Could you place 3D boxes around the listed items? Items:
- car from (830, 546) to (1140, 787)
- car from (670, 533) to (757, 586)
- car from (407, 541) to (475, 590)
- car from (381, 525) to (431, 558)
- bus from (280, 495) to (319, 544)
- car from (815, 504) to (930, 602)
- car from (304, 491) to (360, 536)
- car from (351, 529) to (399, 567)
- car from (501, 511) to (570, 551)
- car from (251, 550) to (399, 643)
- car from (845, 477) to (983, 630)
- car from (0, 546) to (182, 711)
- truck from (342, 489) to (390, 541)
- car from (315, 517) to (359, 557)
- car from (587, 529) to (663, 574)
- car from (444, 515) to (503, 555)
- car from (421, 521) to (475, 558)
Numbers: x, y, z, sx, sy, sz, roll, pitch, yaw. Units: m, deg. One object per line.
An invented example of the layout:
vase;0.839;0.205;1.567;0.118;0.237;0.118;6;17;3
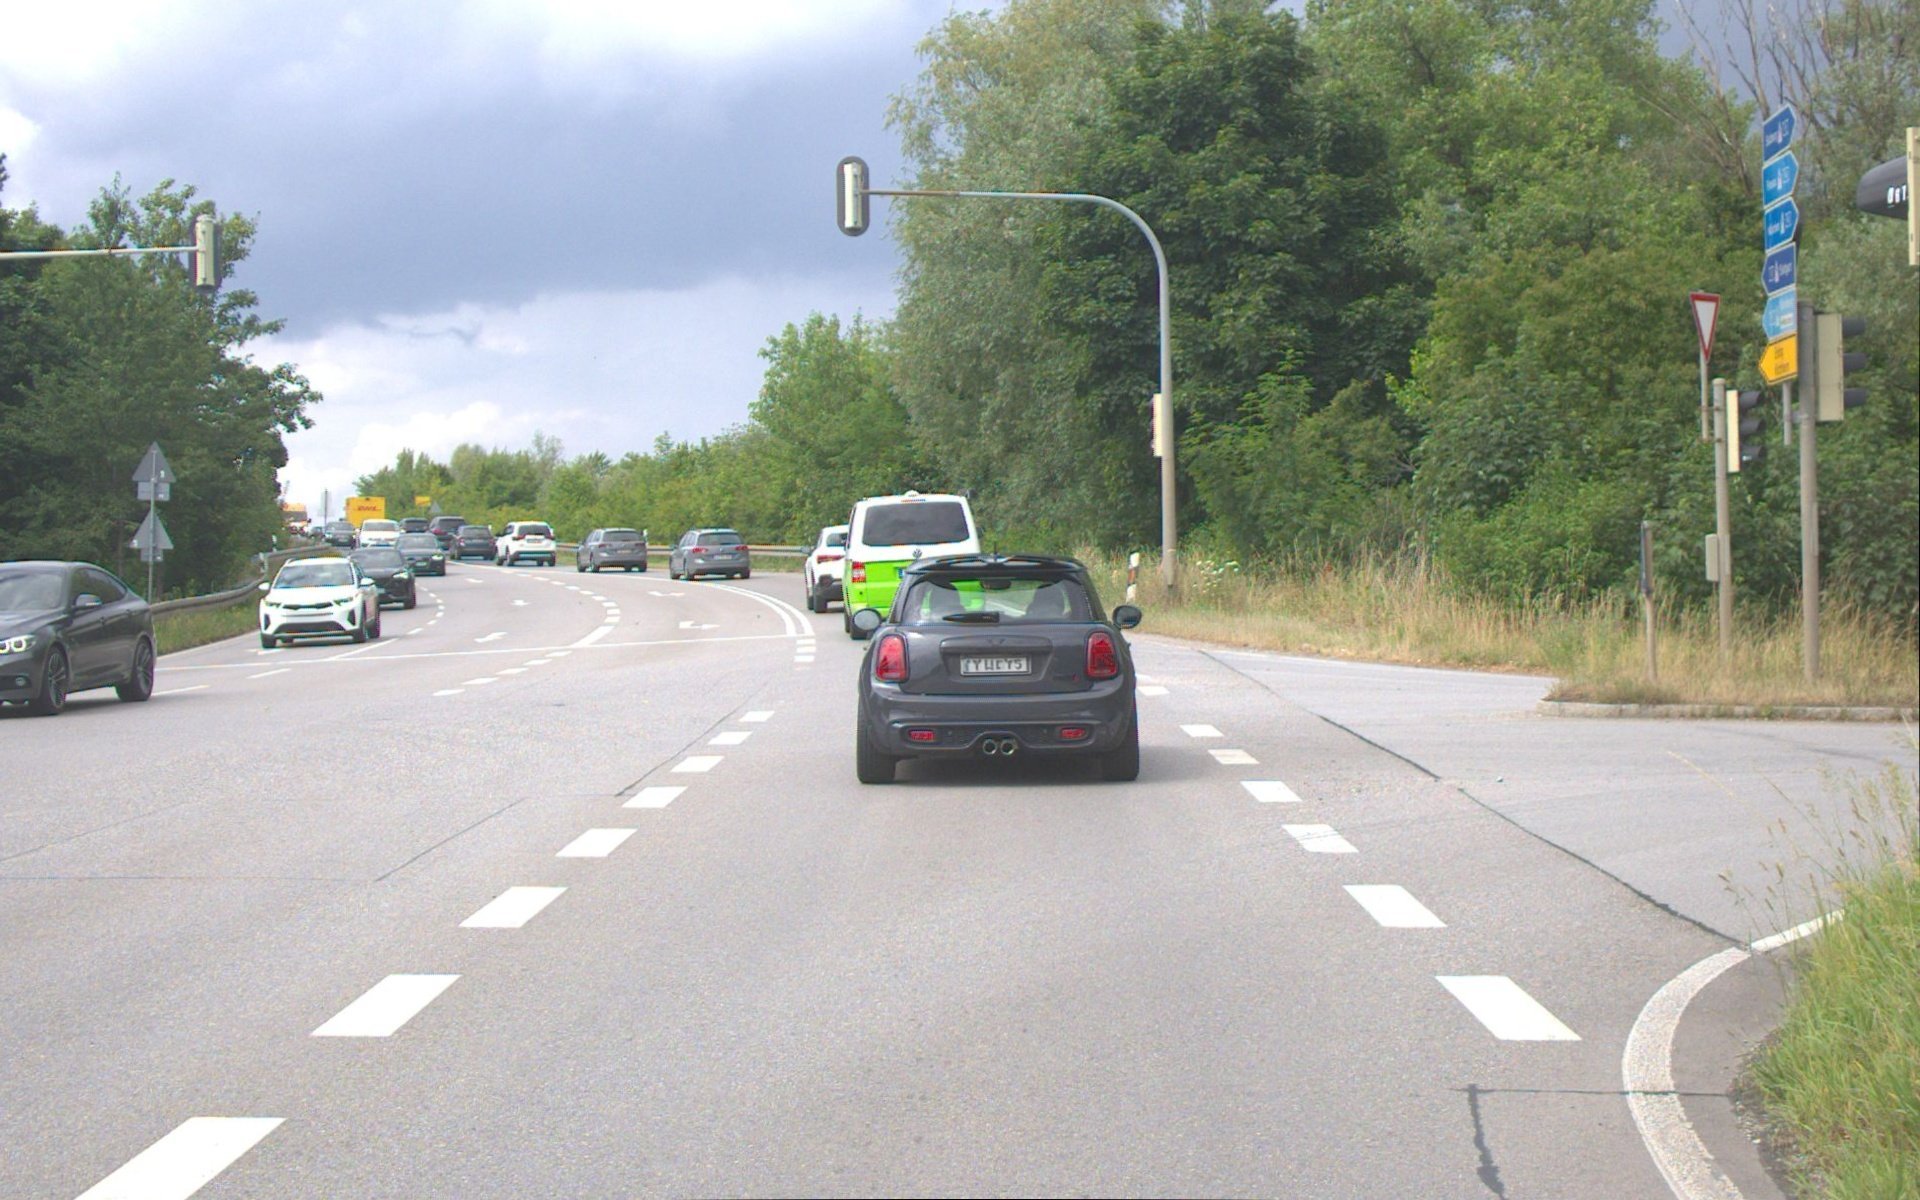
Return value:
car;0.127;0.365;22.439;1.845;1.423;3.841;0;1;-1
car;-7.014;-1.147;97.348;1.993;1.471;4.487;0;1;-10
car;-17.477;-1.190;115.892;1.737;1.401;4.251;-6;2;-3
car;-29.022;-3.072;180.116;1.993;1.690;4.487;0;1;-17
bus;-45.389;-5.518;236.059;1.993;3.291;7.431;-1;2;-16
car;-1.604;-0.845;62.482;1.993;1.678;4.000;-1;1;-2
car;-24.700;-3.406;135.077;1.993;1.684;4.001;-1;2;-12
car;-25.701;-2.298;151.156;1.993;1.607;4.001;-1;2;-9
car;-16.057;-2.583;129.891;1.993;1.471;4.487;0;1;-15
car;-10.989;-0.096;59.728;1.729;1.499;4.347;-1;1;0
car;-0.680;-0.696;48.047;1.845;1.980;3.842;0;3;-2
car;-9.403;0.269;34.593;1.788;1.525;4.903;-3;1;2
truck;-37.456;-5.304;216.549;2.716;2.888;8.772;0;-1;-11
car;-32.055;-3.245;176.861;1.993;2.007;4.001;0;1;-14
car;-11.173;-1.605;114.580;1.993;1.471;4.487;0;1;-13
car;-20.882;-2.772;147.548;1.993;1.690;4.487;0;1;-15
car;-24.144;-2.836;162.045;1.993;1.690;4.487;0;1;-15
